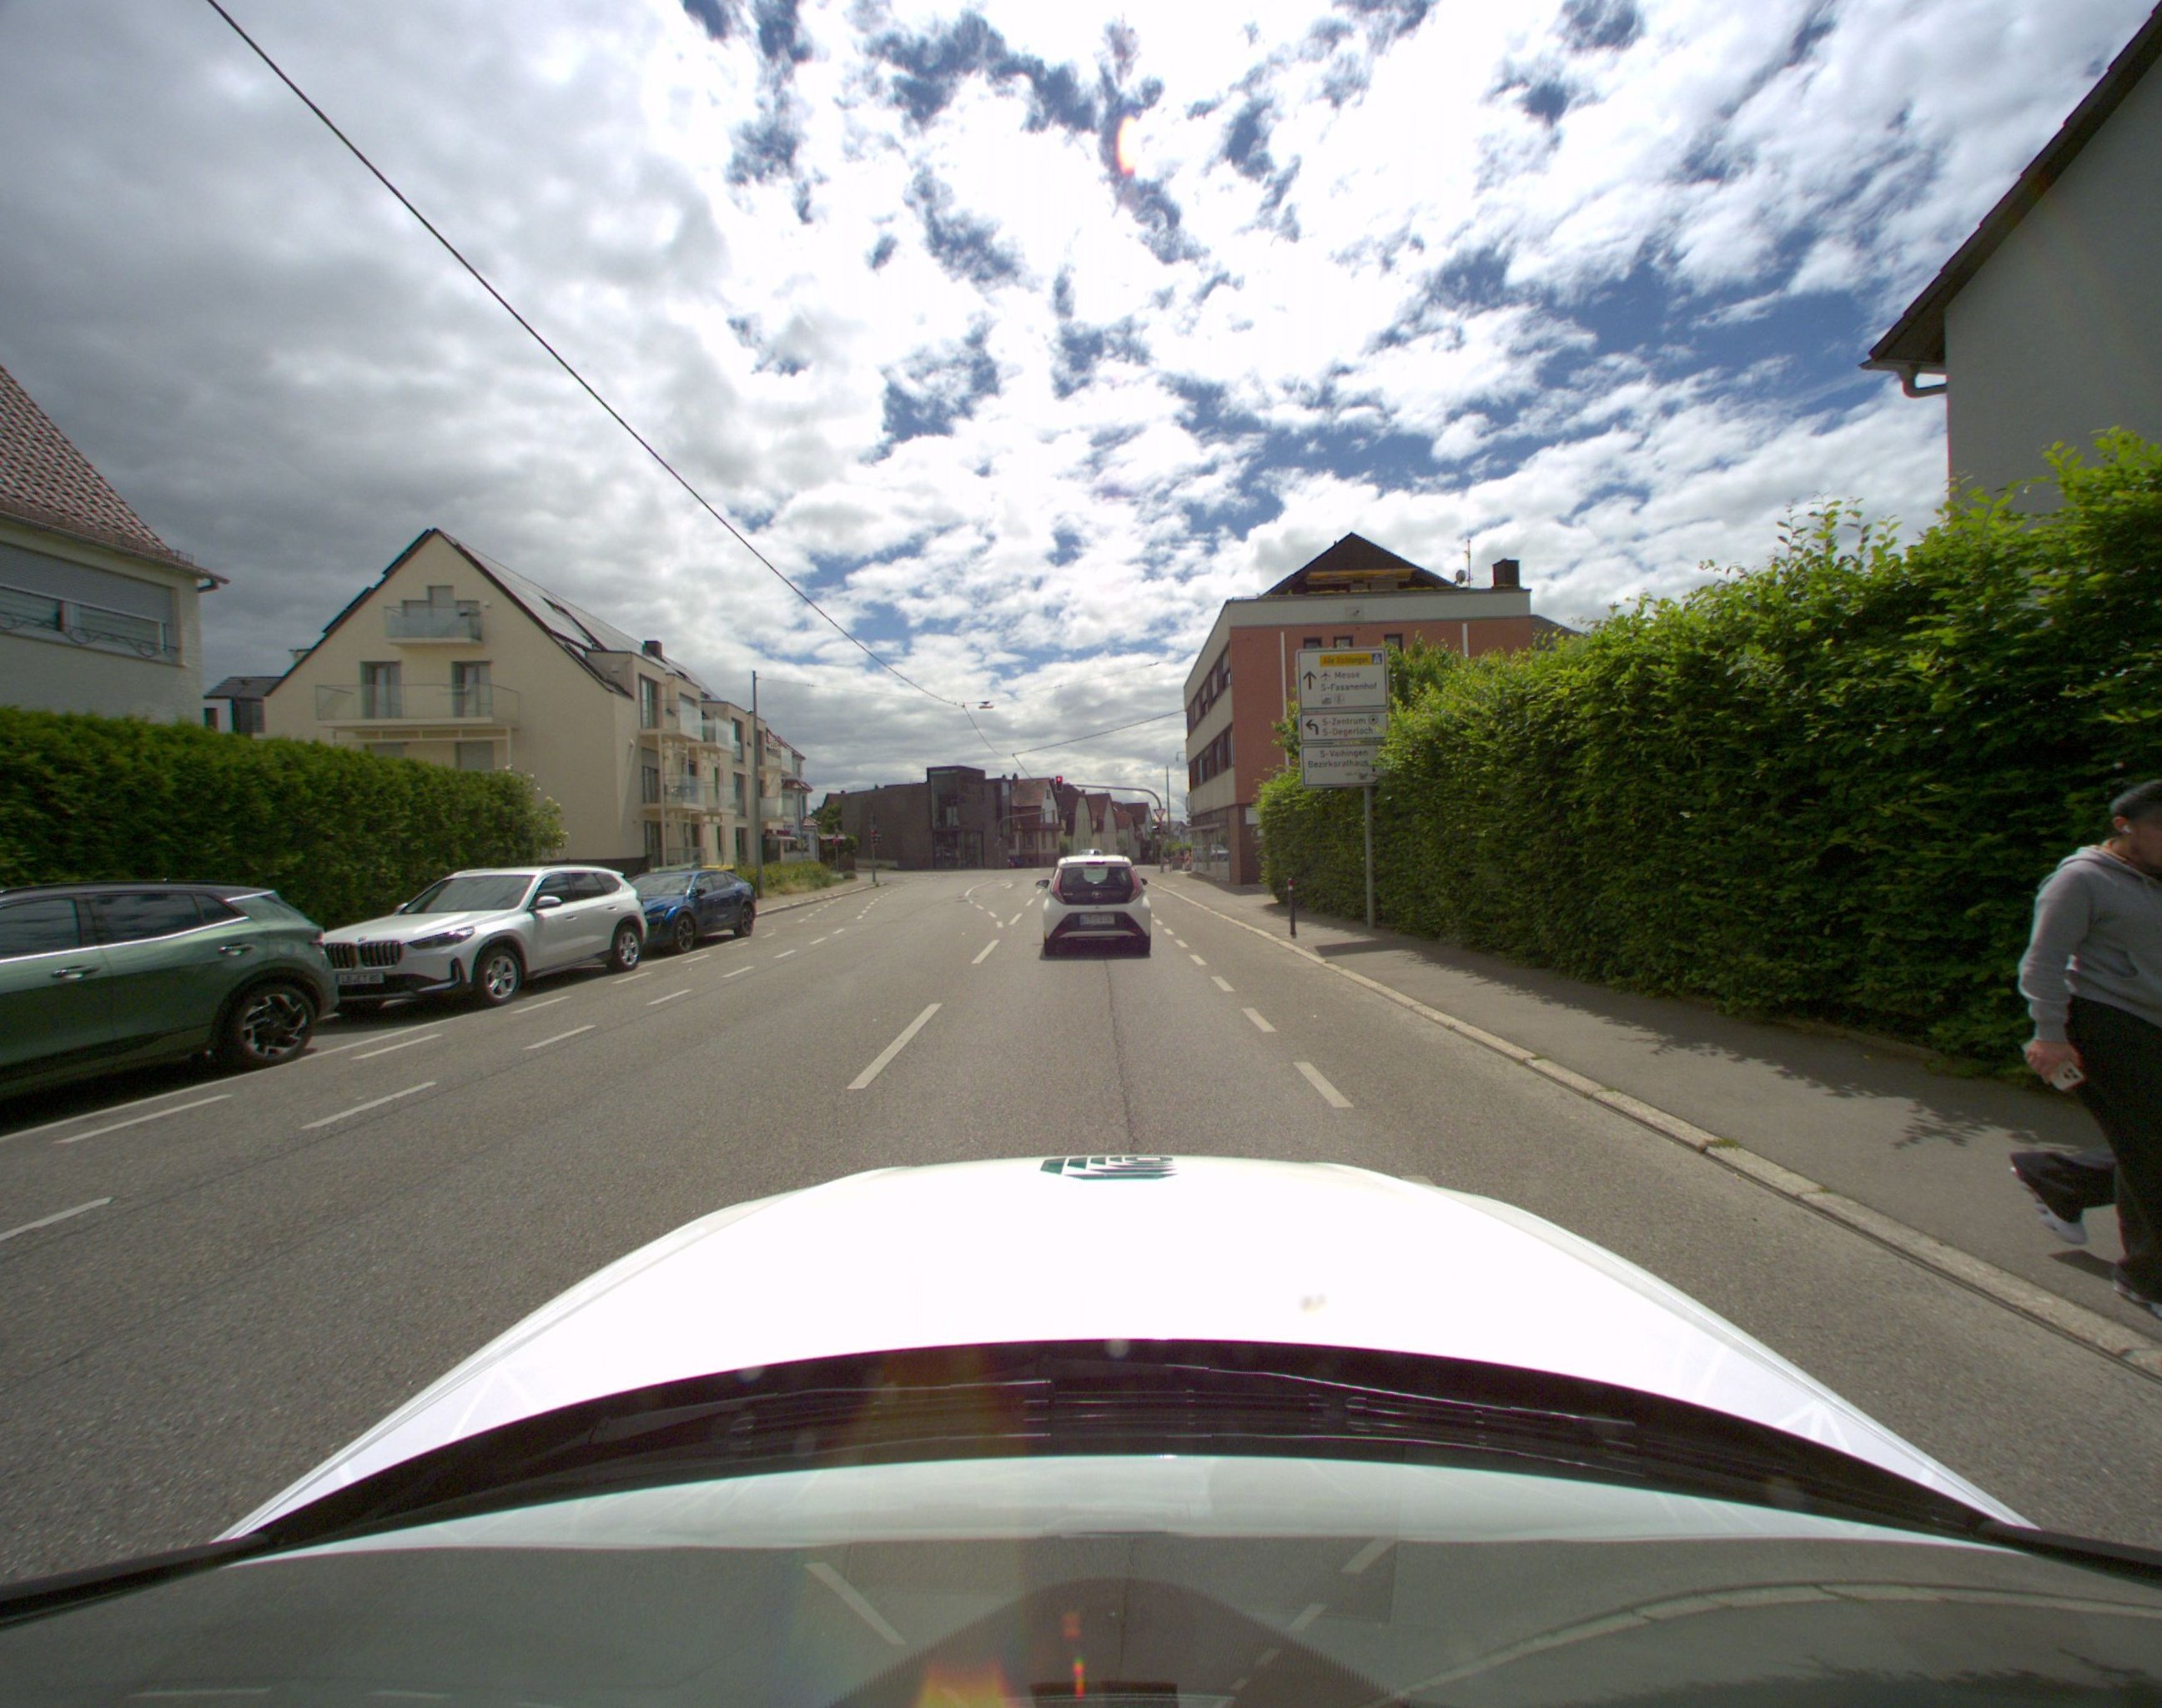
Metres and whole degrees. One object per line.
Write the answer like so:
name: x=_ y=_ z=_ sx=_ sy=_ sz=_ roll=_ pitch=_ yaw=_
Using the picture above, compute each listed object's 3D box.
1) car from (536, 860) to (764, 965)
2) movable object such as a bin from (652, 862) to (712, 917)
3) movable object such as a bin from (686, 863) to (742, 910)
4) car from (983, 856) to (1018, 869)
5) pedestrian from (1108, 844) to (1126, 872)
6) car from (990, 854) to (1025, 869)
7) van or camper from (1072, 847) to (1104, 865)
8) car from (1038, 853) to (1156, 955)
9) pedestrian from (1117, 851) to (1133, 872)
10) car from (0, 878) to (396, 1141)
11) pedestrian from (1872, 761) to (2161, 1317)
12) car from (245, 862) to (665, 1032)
car: x=-7.977 y=0.978 z=15.682 sx=1.988 sy=1.587 sz=4.487 roll=-2 pitch=0 yaw=-1
movable object such as a bin: x=-11.445 y=0.989 z=23.409 sx=1.062 sy=1.482 sz=1.213 roll=-2 pitch=0 yaw=-1
movable object such as a bin: x=-11.079 y=0.973 z=24.657 sx=1.061 sy=1.313 sz=1.215 roll=-2 pitch=0 yaw=2
car: x=-9.036 y=0.961 z=91.745 sx=3.590 sy=1.419 sz=1.697 roll=0 pitch=0 yaw=12
pedestrian: x=2.231 y=0.252 z=50.427 sx=0.827 sy=1.721 sz=0.810 roll=-2 pitch=0 yaw=-28
car: x=-8.451 y=0.862 z=93.989 sx=3.590 sy=1.605 sz=1.697 roll=0 pitch=0 yaw=12
van or camper: x=0.792 y=0.234 z=88.622 sx=2.100 sy=1.926 sz=5.307 roll=0 pitch=0 yaw=16
car: x=0.200 y=0.721 z=13.375 sx=1.692 sy=1.456 sz=3.297 roll=0 pitch=0 yaw=-1
pedestrian: x=2.696 y=0.462 z=49.844 sx=0.737 sy=1.221 sz=0.640 roll=-2 pitch=0 yaw=-26
car: x=-7.831 y=1.074 z=5.646 sx=1.985 sy=1.564 sz=4.693 roll=-2 pitch=0 yaw=3
pedestrian: x=3.387 y=0.517 z=2.715 sx=0.600 sy=1.605 sz=0.836 roll=-4 pitch=0 yaw=2
car: x=-7.779 y=1.001 z=10.875 sx=1.987 sy=1.650 sz=4.518 roll=-2 pitch=0 yaw=1
